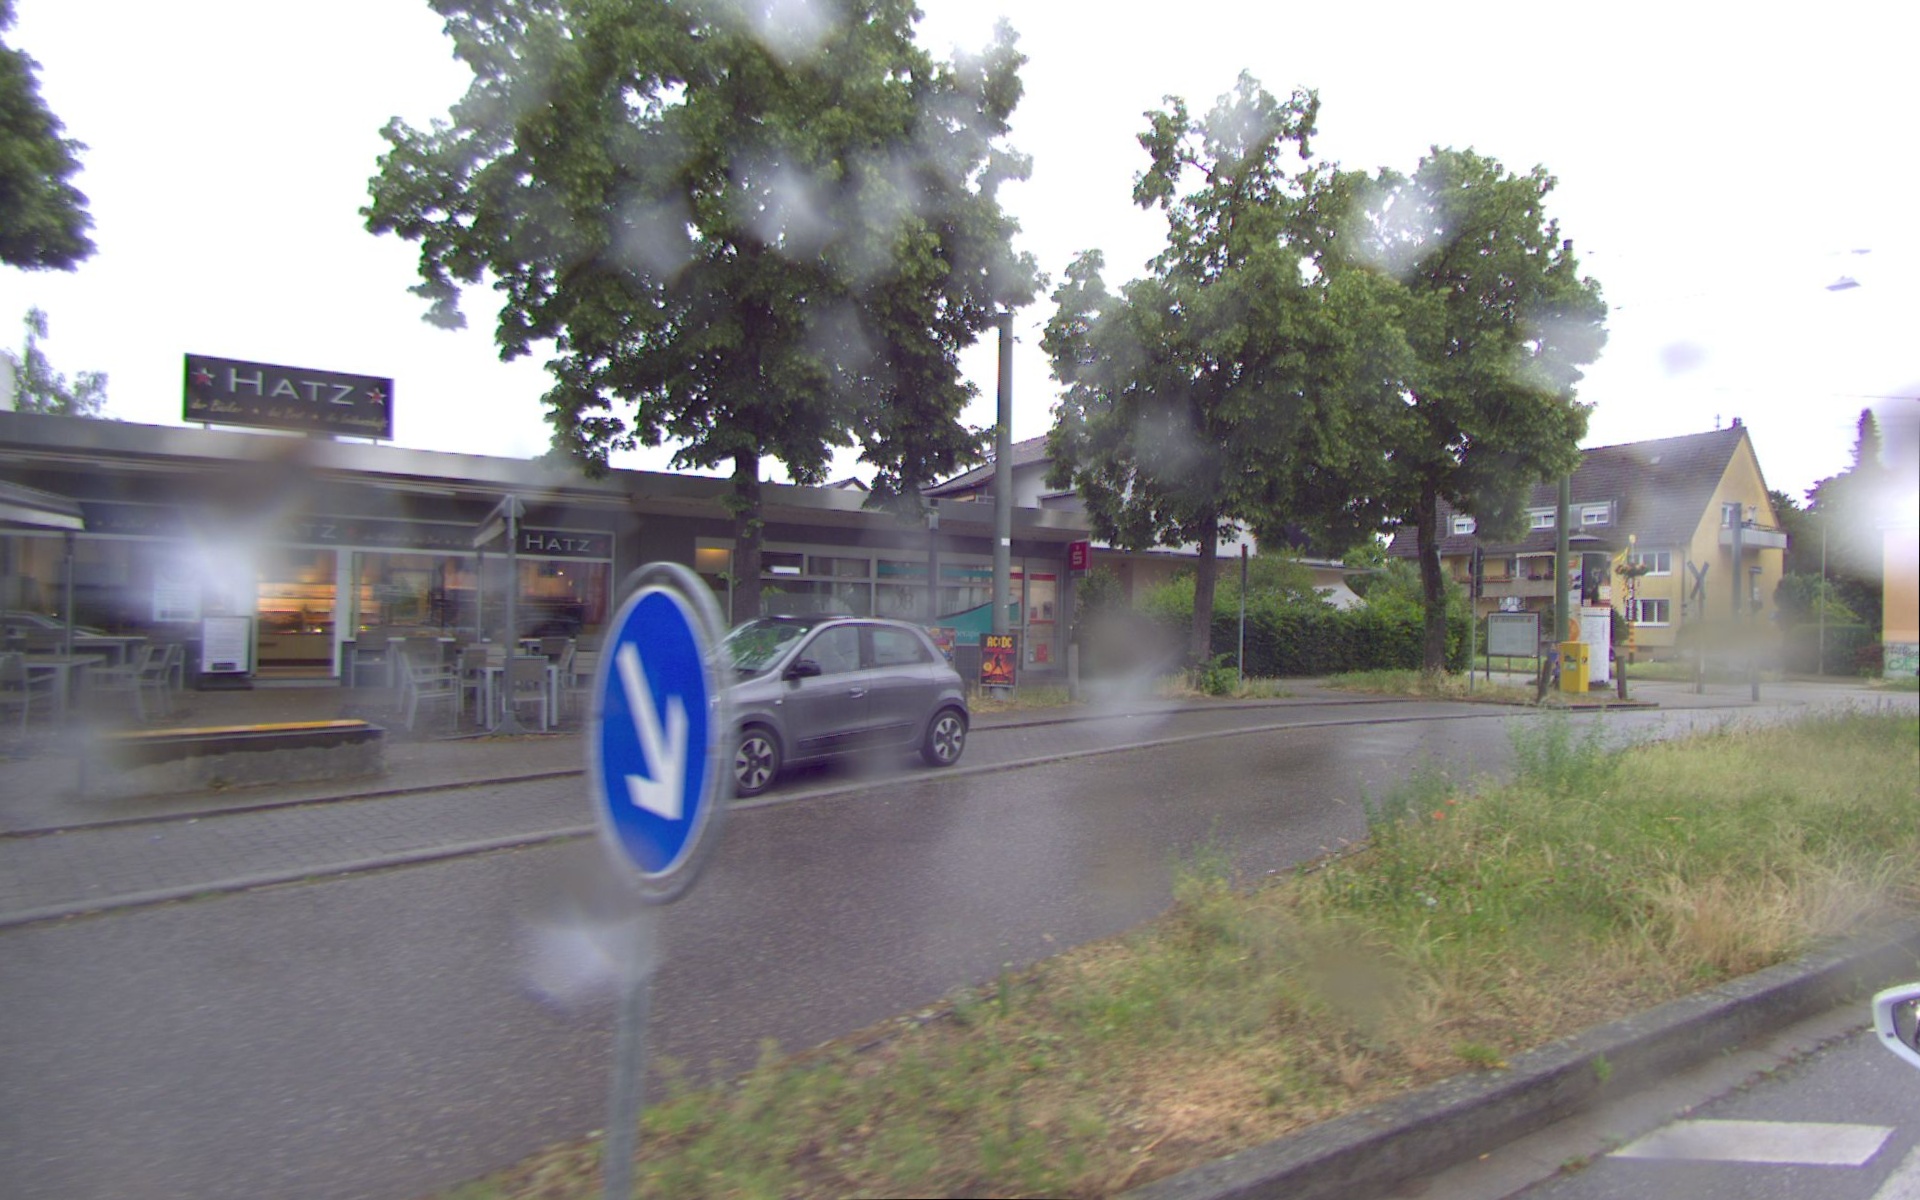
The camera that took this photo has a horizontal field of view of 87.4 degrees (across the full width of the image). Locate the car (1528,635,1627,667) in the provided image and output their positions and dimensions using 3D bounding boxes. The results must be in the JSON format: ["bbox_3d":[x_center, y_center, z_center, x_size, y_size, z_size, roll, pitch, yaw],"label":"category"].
[{"bbox_3d":[31.441,2.597,51.233,1.742,1.350,3.961,2,0,-34],"label":"car"}]

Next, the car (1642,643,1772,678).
[{"bbox_3d":[34.444,2.750,46.431,1.947,1.414,4.464,2,-1,-33],"label":"car"}]

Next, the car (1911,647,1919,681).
[{"bbox_3d":[39.971,2.641,39.412,1.705,1.357,3.582,2,0,-34],"label":"car"}]

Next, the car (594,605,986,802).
[{"bbox_3d":[-1.511,0.872,9.877,1.529,1.523,3.604,3,0,42],"label":"car"}]
